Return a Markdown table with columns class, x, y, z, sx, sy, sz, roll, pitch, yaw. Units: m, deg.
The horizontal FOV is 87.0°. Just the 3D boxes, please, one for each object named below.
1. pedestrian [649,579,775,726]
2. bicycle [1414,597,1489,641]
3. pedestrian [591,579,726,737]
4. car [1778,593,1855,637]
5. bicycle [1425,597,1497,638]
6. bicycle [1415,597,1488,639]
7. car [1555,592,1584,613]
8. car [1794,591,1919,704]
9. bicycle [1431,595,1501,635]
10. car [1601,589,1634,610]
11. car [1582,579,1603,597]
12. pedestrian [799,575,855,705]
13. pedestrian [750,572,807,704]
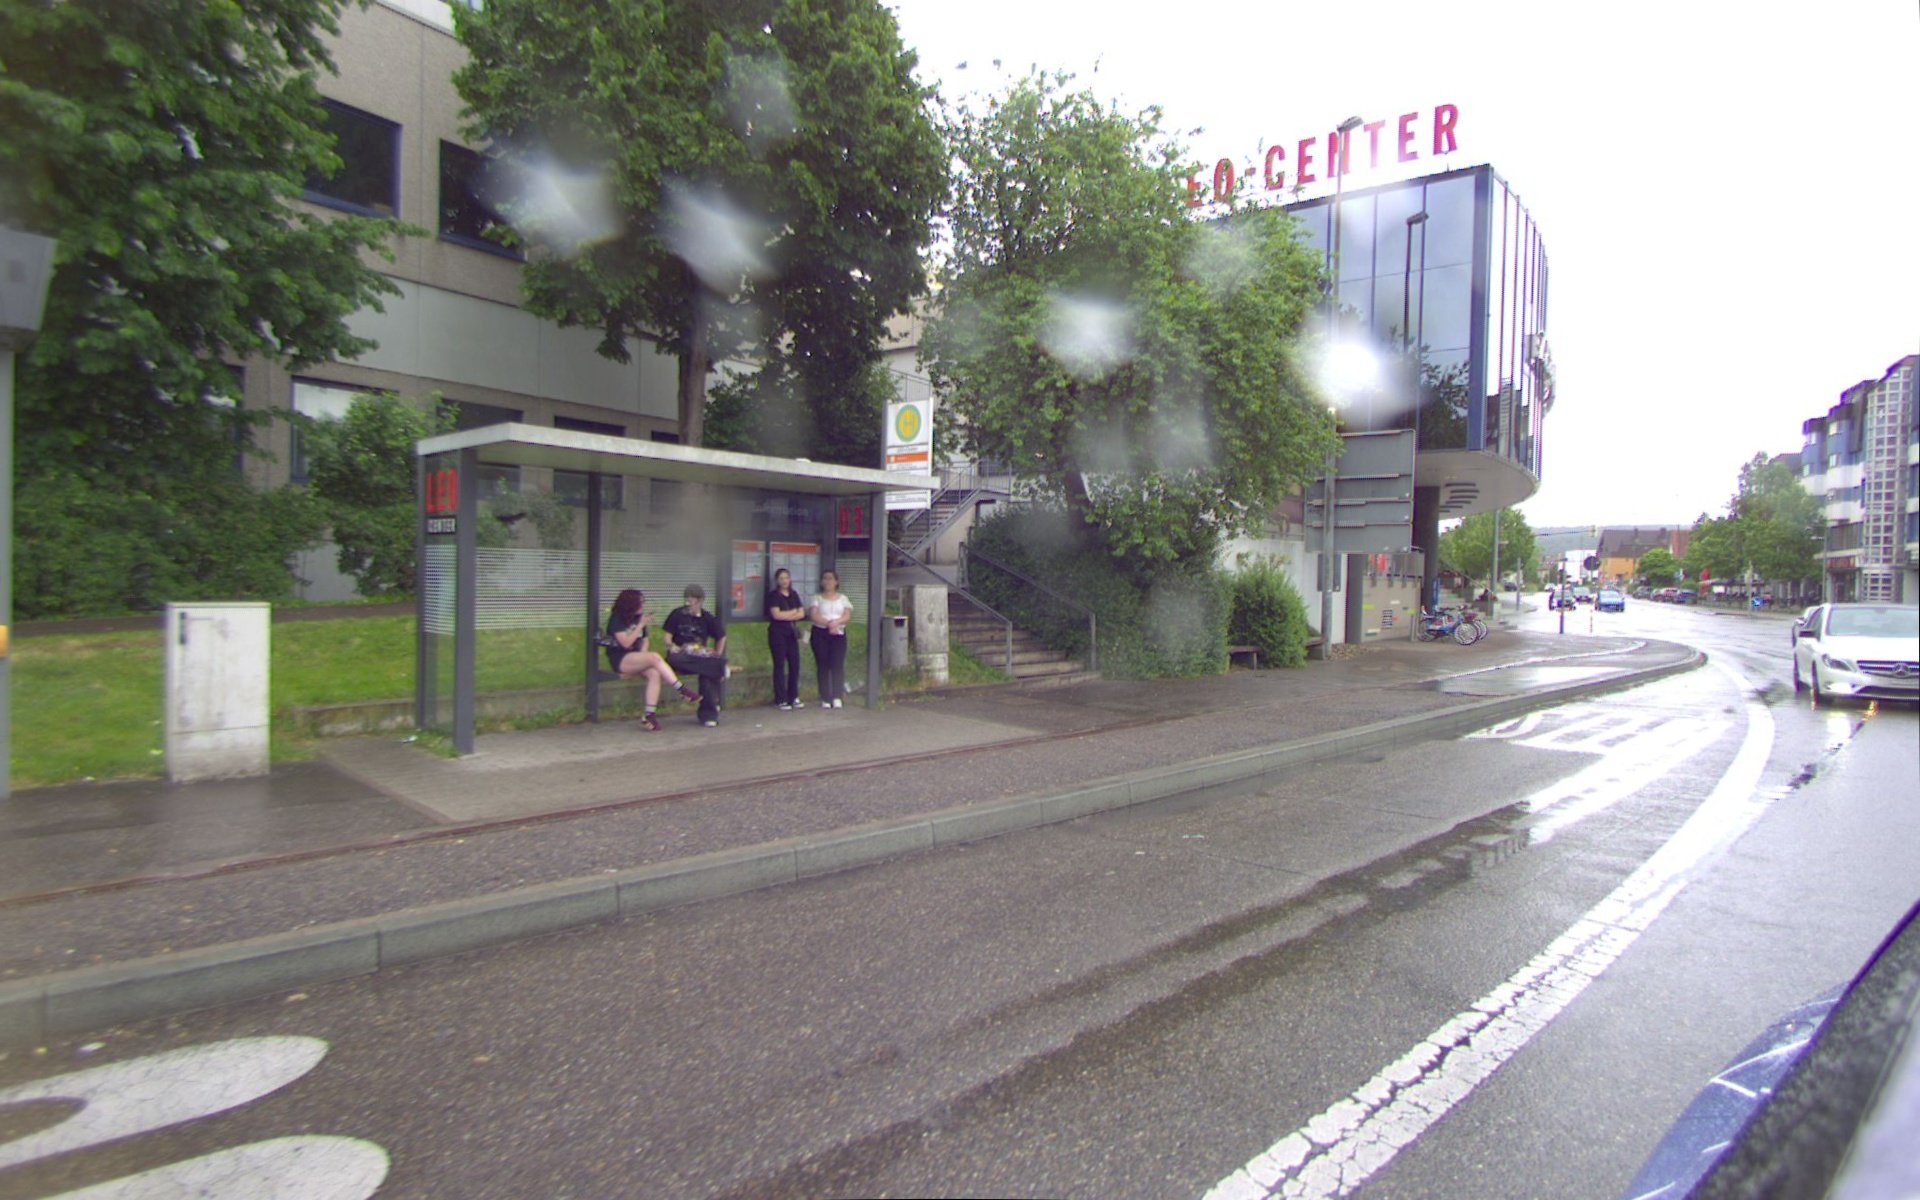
| class | x | y | z | sx | sy | sz | roll | pitch | yaw |
| --- | --- | --- | --- | --- | --- | --- | --- | --- | --- |
| pedestrian | -2.434 | 0.479 | 9.915 | 1.028 | 1.297 | 0.682 | 4 | 3 | 39 |
| bicycle | 14.261 | 0.539 | 29.370 | 1.808 | 1.124 | 0.684 | 4 | 2 | 39 |
| pedestrian | -2.752 | 0.486 | 9.225 | 1.028 | 1.297 | 0.682 | 4 | 3 | 39 |
| car | 30.909 | 0.519 | 36.490 | 3.774 | 1.509 | 1.631 | 1 | 1 | -42 |
| bicycle | 15.188 | 0.519 | 30.684 | 1.808 | 1.124 | 0.684 | 4 | 2 | 39 |
| bicycle | 14.562 | 0.516 | 30.013 | 1.799 | 1.098 | 0.675 | 4 | 2 | 39 |
| car | 48.184 | 0.157 | 80.066 | 1.886 | 1.545 | 3.957 | 1 | 1 | 30 |
| car | 14.573 | 0.675 | 15.916 | 1.751 | 1.569 | 4.275 | 1 | 1 | 33 |
| bicycle | 15.953 | 0.461 | 31.925 | 1.827 | 1.124 | 0.684 | 4 | 3 | 39 |
| car | 50.378 | -0.061 | 77.631 | 1.886 | 1.545 | 3.957 | 1 | 1 | 30 |
| car | 59.538 | -1.095 | 95.351 | 1.571 | 1.660 | 3.601 | 1 | 1 | 31 |
| pedestrian | -1.456 | 0.429 | 11.108 | 0.532 | 1.382 | 0.412 | 3 | 2 | -7 |
| pedestrian | -1.968 | 0.401 | 11.005 | 0.532 | 1.382 | 0.412 | 3 | 2 | -8 |
